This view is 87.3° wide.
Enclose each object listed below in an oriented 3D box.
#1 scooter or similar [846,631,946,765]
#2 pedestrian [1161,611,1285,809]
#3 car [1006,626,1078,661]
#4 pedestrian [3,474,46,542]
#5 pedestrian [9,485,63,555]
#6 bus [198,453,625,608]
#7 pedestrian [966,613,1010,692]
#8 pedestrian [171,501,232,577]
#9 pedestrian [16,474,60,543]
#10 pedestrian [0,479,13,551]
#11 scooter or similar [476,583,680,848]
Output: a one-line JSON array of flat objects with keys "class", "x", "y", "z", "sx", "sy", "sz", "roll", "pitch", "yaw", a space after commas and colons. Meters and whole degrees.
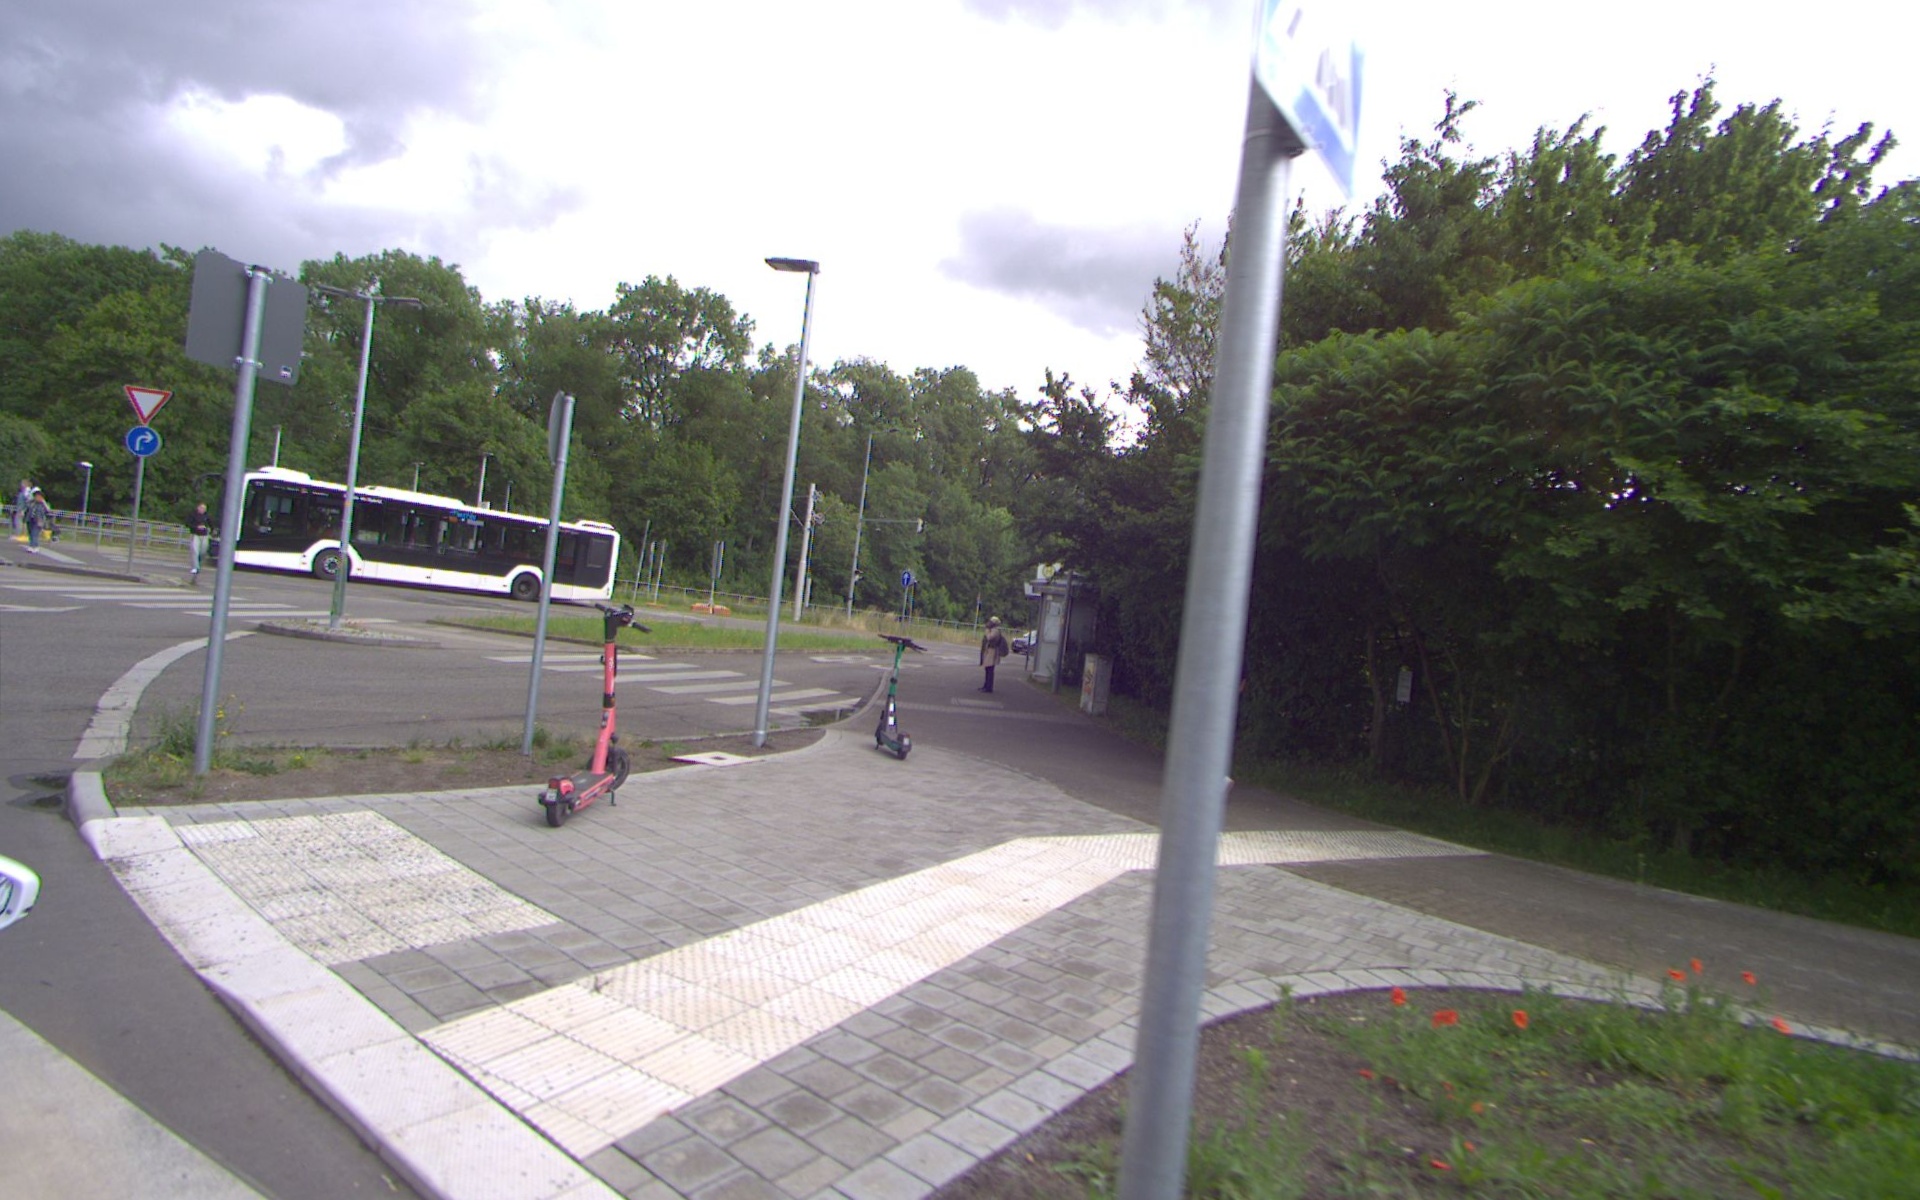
[{"class": "scooter or similar", "x": -0.736, "y": 1.047, "z": 11.143, "sx": 0.613, "sy": 1.289, "sz": 1.490, "roll": 7, "pitch": -2, "yaw": -18}, {"class": "pedestrian", "x": 2.679, "y": 1.089, "z": 10.366, "sx": 0.841, "sy": 1.844, "sz": 0.985, "roll": 7, "pitch": 0, "yaw": 3}, {"class": "car", "x": 4.661, "y": 2.460, "z": 56.678, "sx": 1.735, "sy": 1.451, "sz": 4.413, "roll": 7, "pitch": -1, "yaw": 39}, {"class": "pedestrian", "x": -26.380, "y": -2.585, "z": 28.380, "sx": 0.718, "sy": 1.768, "sz": 0.945, "roll": 8, "pitch": 0, "yaw": -44}, {"class": "pedestrian", "x": -22.560, "y": -1.950, "z": 24.569, "sx": 0.685, "sy": 1.585, "sz": 0.727, "roll": 8, "pitch": 0, "yaw": -31}, {"class": "bus", "x": -17.426, "y": -2.009, "z": 33.420, "sx": 2.637, "sy": 3.241, "sz": 12.148, "roll": 7, "pitch": -1, "yaw": 40}, {"class": "pedestrian", "x": 0.610, "y": 1.135, "z": 21.874, "sx": 0.674, "sy": 1.613, "sz": 0.772, "roll": 7, "pitch": 0, "yaw": 8}, {"class": "pedestrian", "x": -19.310, "y": -1.534, "z": 25.635, "sx": 0.947, "sy": 1.768, "sz": 1.053, "roll": 8, "pitch": 0, "yaw": -31}, {"class": "pedestrian", "x": -25.494, "y": -2.512, "z": 27.805, "sx": 0.718, "sy": 1.768, "sz": 0.945, "roll": 8, "pitch": 0, "yaw": -44}, {"class": "pedestrian", "x": -22.673, "y": -2.019, "z": 23.356, "sx": 0.692, "sy": 1.653, "sz": 0.717, "roll": 8, "pitch": 0, "yaw": -31}, {"class": "scooter or similar", "x": -2.222, "y": 0.624, "z": 6.059, "sx": 0.562, "sy": 1.328, "sz": 1.525, "roll": 7, "pitch": -1, "yaw": -3}]
